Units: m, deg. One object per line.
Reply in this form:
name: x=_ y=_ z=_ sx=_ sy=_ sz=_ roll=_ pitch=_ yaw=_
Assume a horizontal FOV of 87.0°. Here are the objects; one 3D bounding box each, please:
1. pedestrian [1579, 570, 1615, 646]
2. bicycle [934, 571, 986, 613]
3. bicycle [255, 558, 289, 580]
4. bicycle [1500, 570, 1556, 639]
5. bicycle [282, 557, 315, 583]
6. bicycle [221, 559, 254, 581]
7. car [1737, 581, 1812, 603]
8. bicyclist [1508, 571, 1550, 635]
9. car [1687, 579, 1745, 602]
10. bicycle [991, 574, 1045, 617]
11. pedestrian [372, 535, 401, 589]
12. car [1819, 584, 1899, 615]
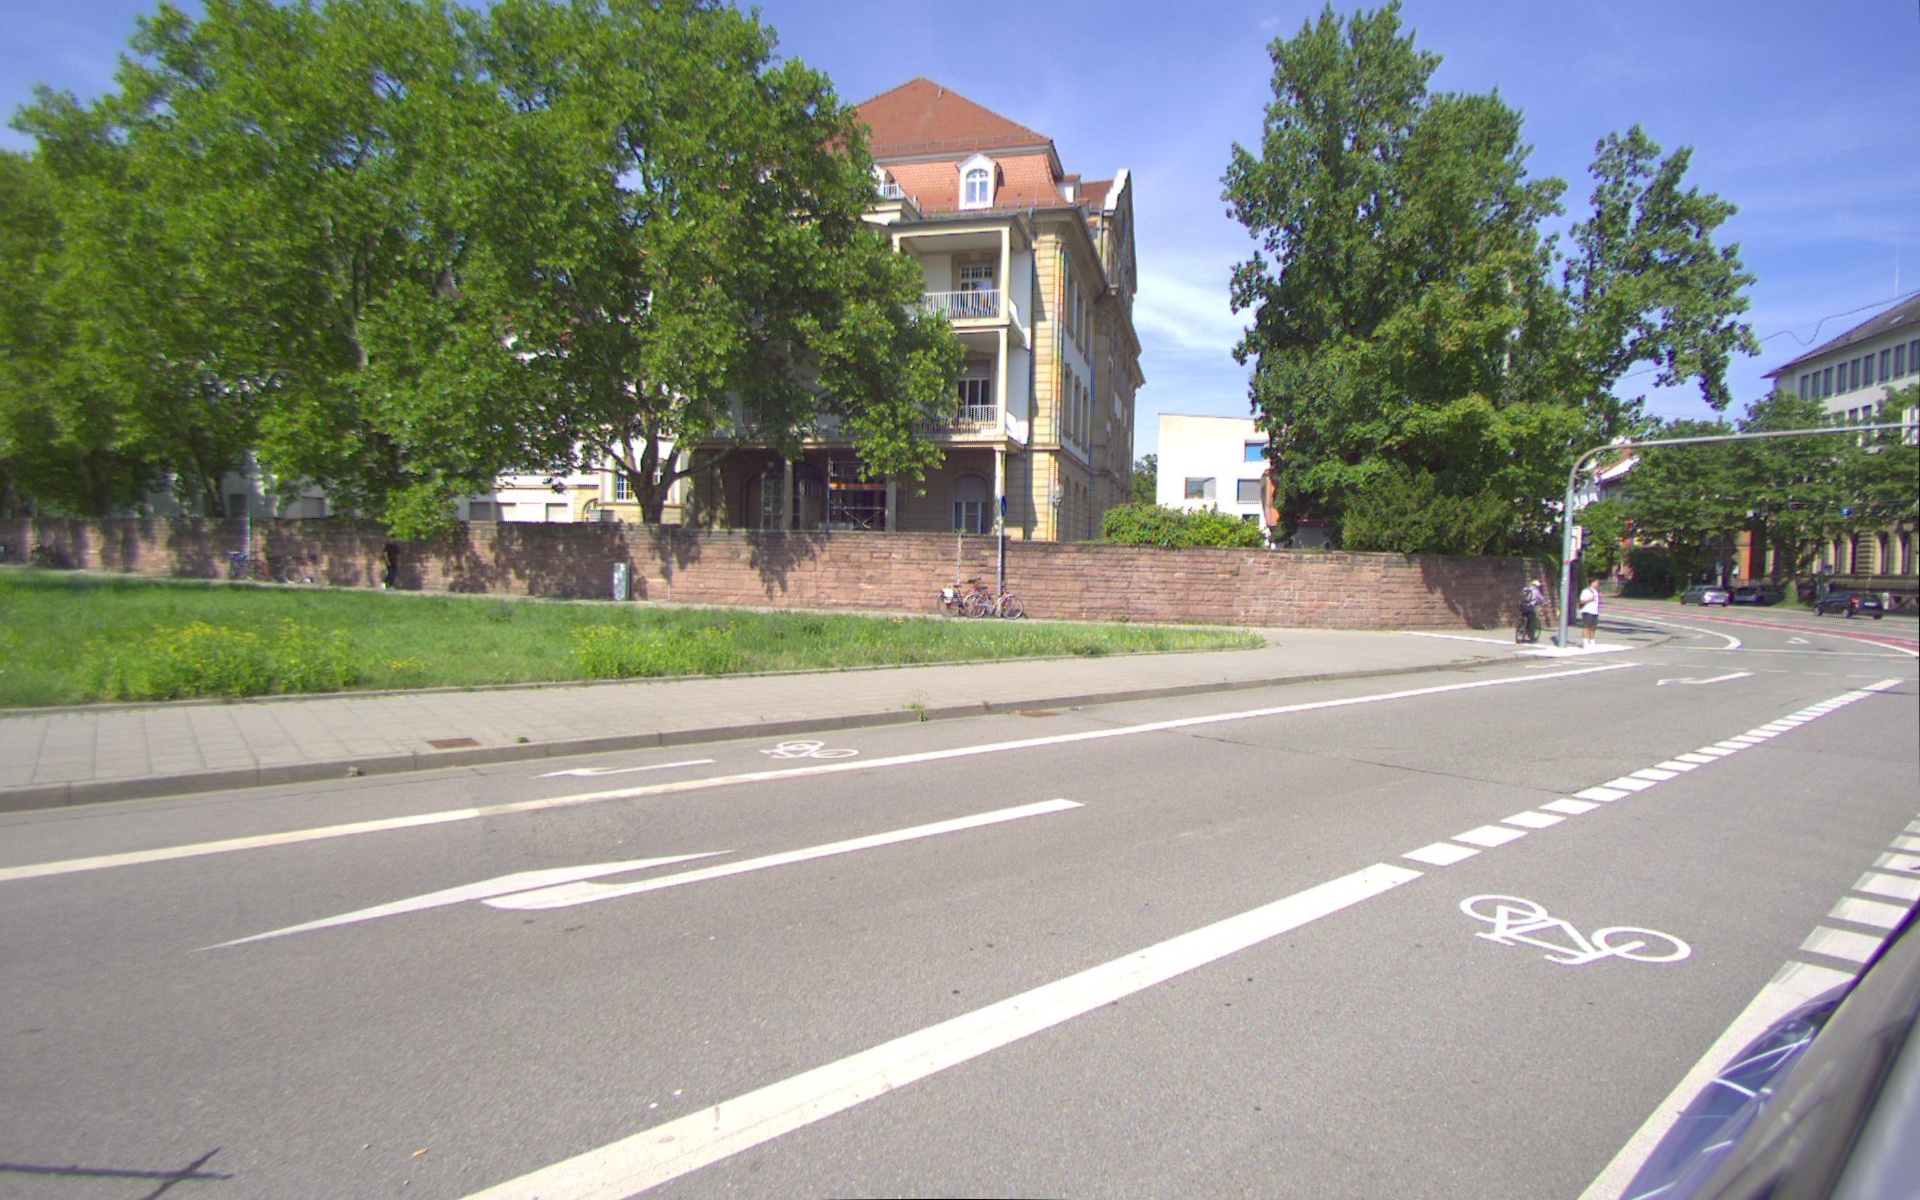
pedestrian: x=16.563 y=0.195 z=26.331 sx=0.649 sy=1.897 sz=0.788 roll=4 pitch=3 yaw=31
bicycle: x=0.011 y=-0.208 z=27.962 sx=1.406 sy=1.136 sz=0.350 roll=1 pitch=2 yaw=-27
bicycle: x=-24.738 y=-1.107 z=36.366 sx=1.350 sy=0.737 sz=0.338 roll=3 pitch=2 yaw=23
bicycle: x=15.358 y=0.109 z=27.353 sx=1.779 sy=1.787 sz=0.679 roll=0 pitch=3 yaw=-41
bicycle: x=-23.456 y=-1.056 z=35.874 sx=1.294 sy=0.866 sz=0.369 roll=3 pitch=2 yaw=25
bicycle: x=-26.320 y=-1.096 z=36.876 sx=1.350 sy=0.737 sz=0.338 roll=3 pitch=2 yaw=23
car: x=62.567 y=-0.663 z=77.792 sx=3.941 sy=1.482 sz=1.992 roll=2 pitch=2 yaw=14
bicyclist: x=15.388 y=0.082 z=27.370 sx=0.903 sy=1.675 sz=0.679 roll=0 pitch=2 yaw=-41
car: x=53.223 y=-0.685 z=71.364 sx=1.773 sy=1.429 sz=3.985 roll=3 pitch=3 yaw=14
bicycle: x=1.599 y=-0.136 z=28.060 sx=1.406 sy=1.136 sz=0.350 roll=1 pitch=2 yaw=-6
pedestrian: x=-19.037 y=-1.255 z=33.596 sx=0.592 sy=1.761 sz=0.616 roll=2 pitch=2 yaw=20
car: x=48.927 y=-0.065 z=55.157 sx=1.648 sy=1.468 sz=3.801 roll=3 pitch=3 yaw=16
